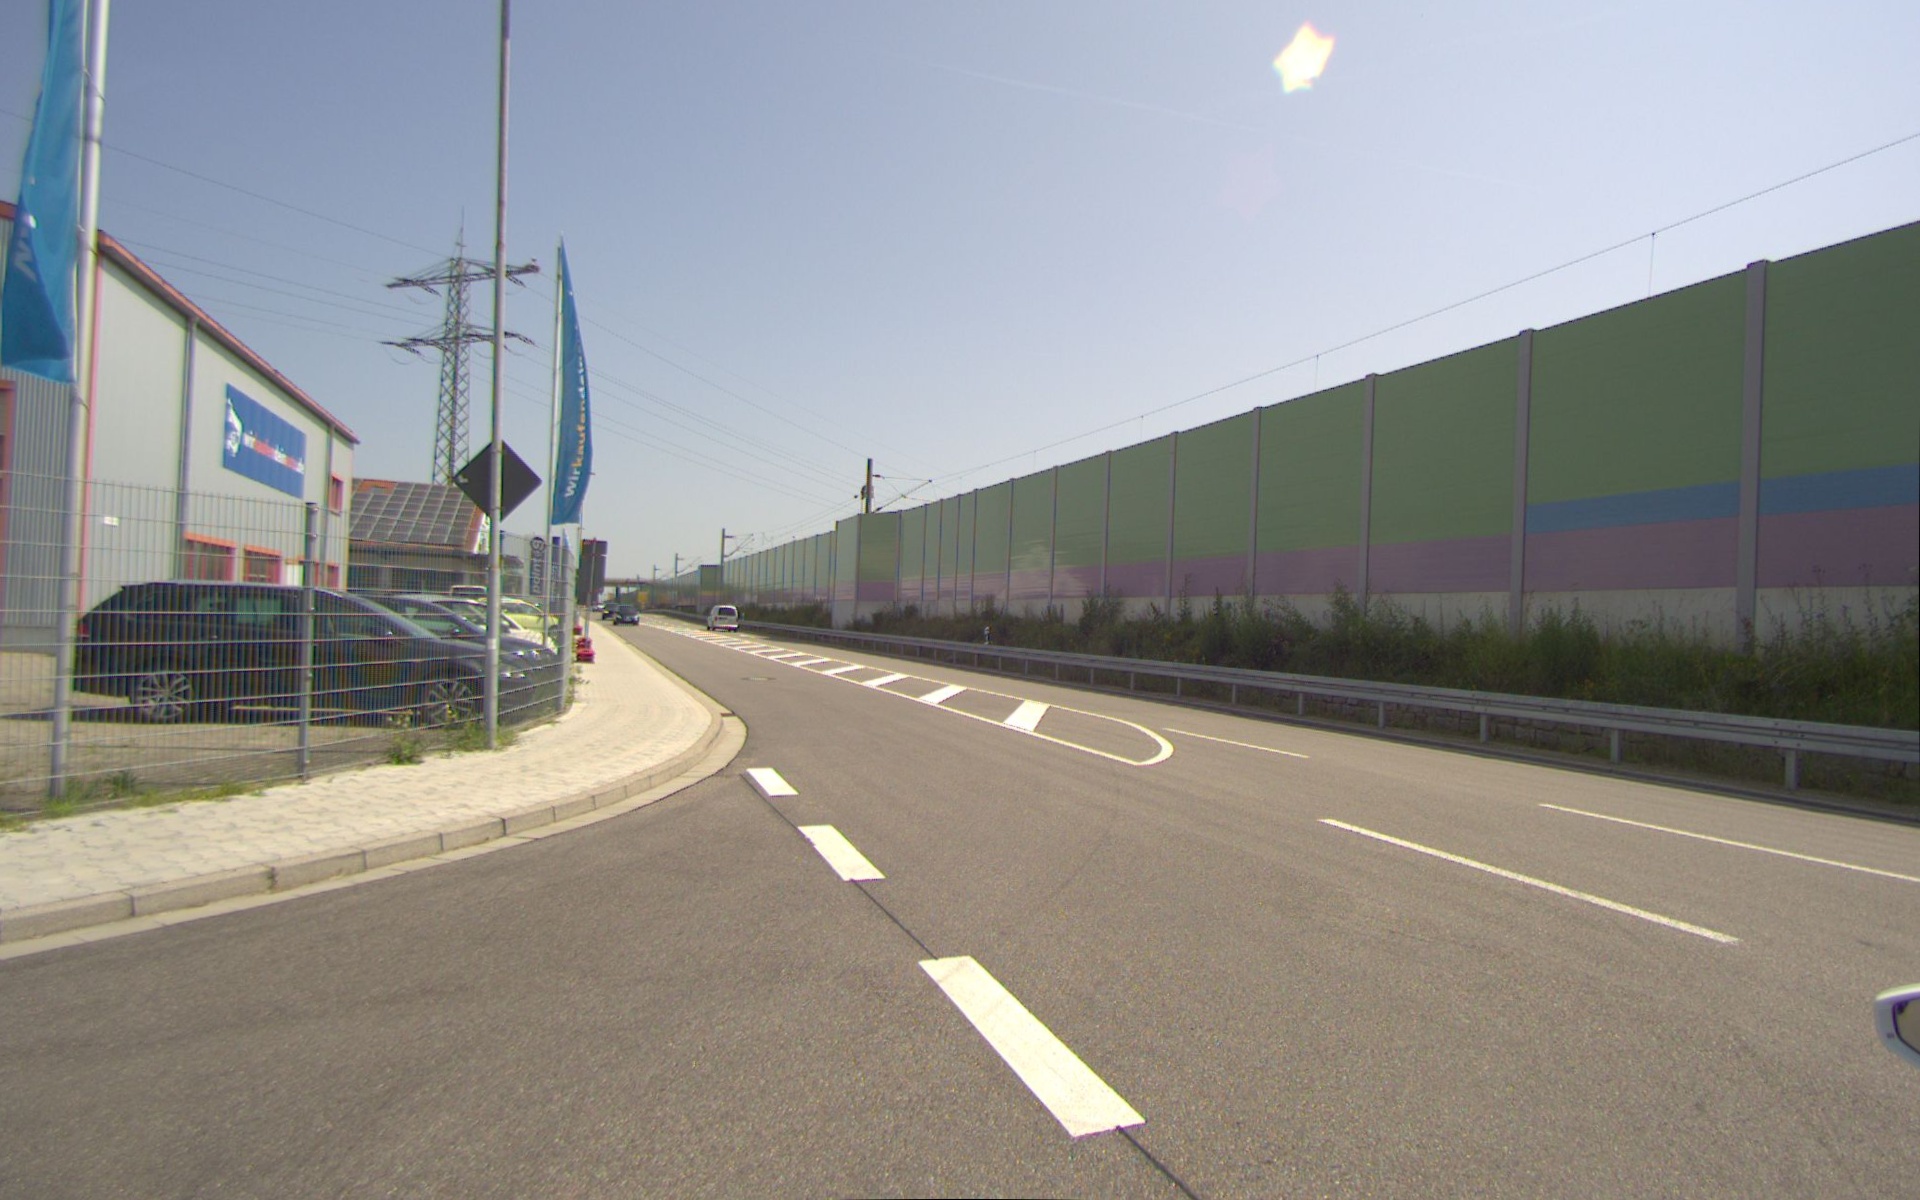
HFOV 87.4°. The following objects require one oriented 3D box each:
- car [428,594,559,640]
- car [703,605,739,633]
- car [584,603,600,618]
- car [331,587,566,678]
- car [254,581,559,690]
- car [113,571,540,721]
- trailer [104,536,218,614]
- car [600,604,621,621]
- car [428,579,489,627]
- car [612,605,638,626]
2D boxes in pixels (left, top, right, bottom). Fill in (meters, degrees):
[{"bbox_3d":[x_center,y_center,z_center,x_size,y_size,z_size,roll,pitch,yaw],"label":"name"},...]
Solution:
[{"bbox_3d":[-17.177,0.647,37.155,1.714,1.513,4.084,2,-1,33],"label":"car"},{"bbox_3d":[-16.918,1.317,71.057,1.970,1.780,3.982,3,-1,-20],"label":"car"},{"bbox_3d":[-52.604,1.477,143.559,1.971,2.040,3.979,3,-1,-22],"label":"car"},{"bbox_3d":[-9.289,0.619,18.406,1.567,1.484,3.468,2,-2,42],"label":"car"},{"bbox_3d":[-8.544,0.563,15.792,3.952,1.522,1.761,3,-1,-29],"label":"car"},{"bbox_3d":[-7.146,0.541,11.844,3.947,1.522,1.764,3,-1,-26],"label":"car"},{"bbox_3d":[-33.016,-0.930,41.715,2.138,2.885,5.098,4,-2,-22],"label":"trailer"},{"bbox_3d":[-34.759,1.242,99.884,1.859,1.638,4.500,1,0,-21],"label":"car"},{"bbox_3d":[-22.922,0.175,46.078,1.970,2.040,4.658,2,-2,-21],"label":"car"},{"bbox_3d":[-26.651,1.218,79.812,1.722,1.615,3.776,1,0,-22],"label":"car"}]
